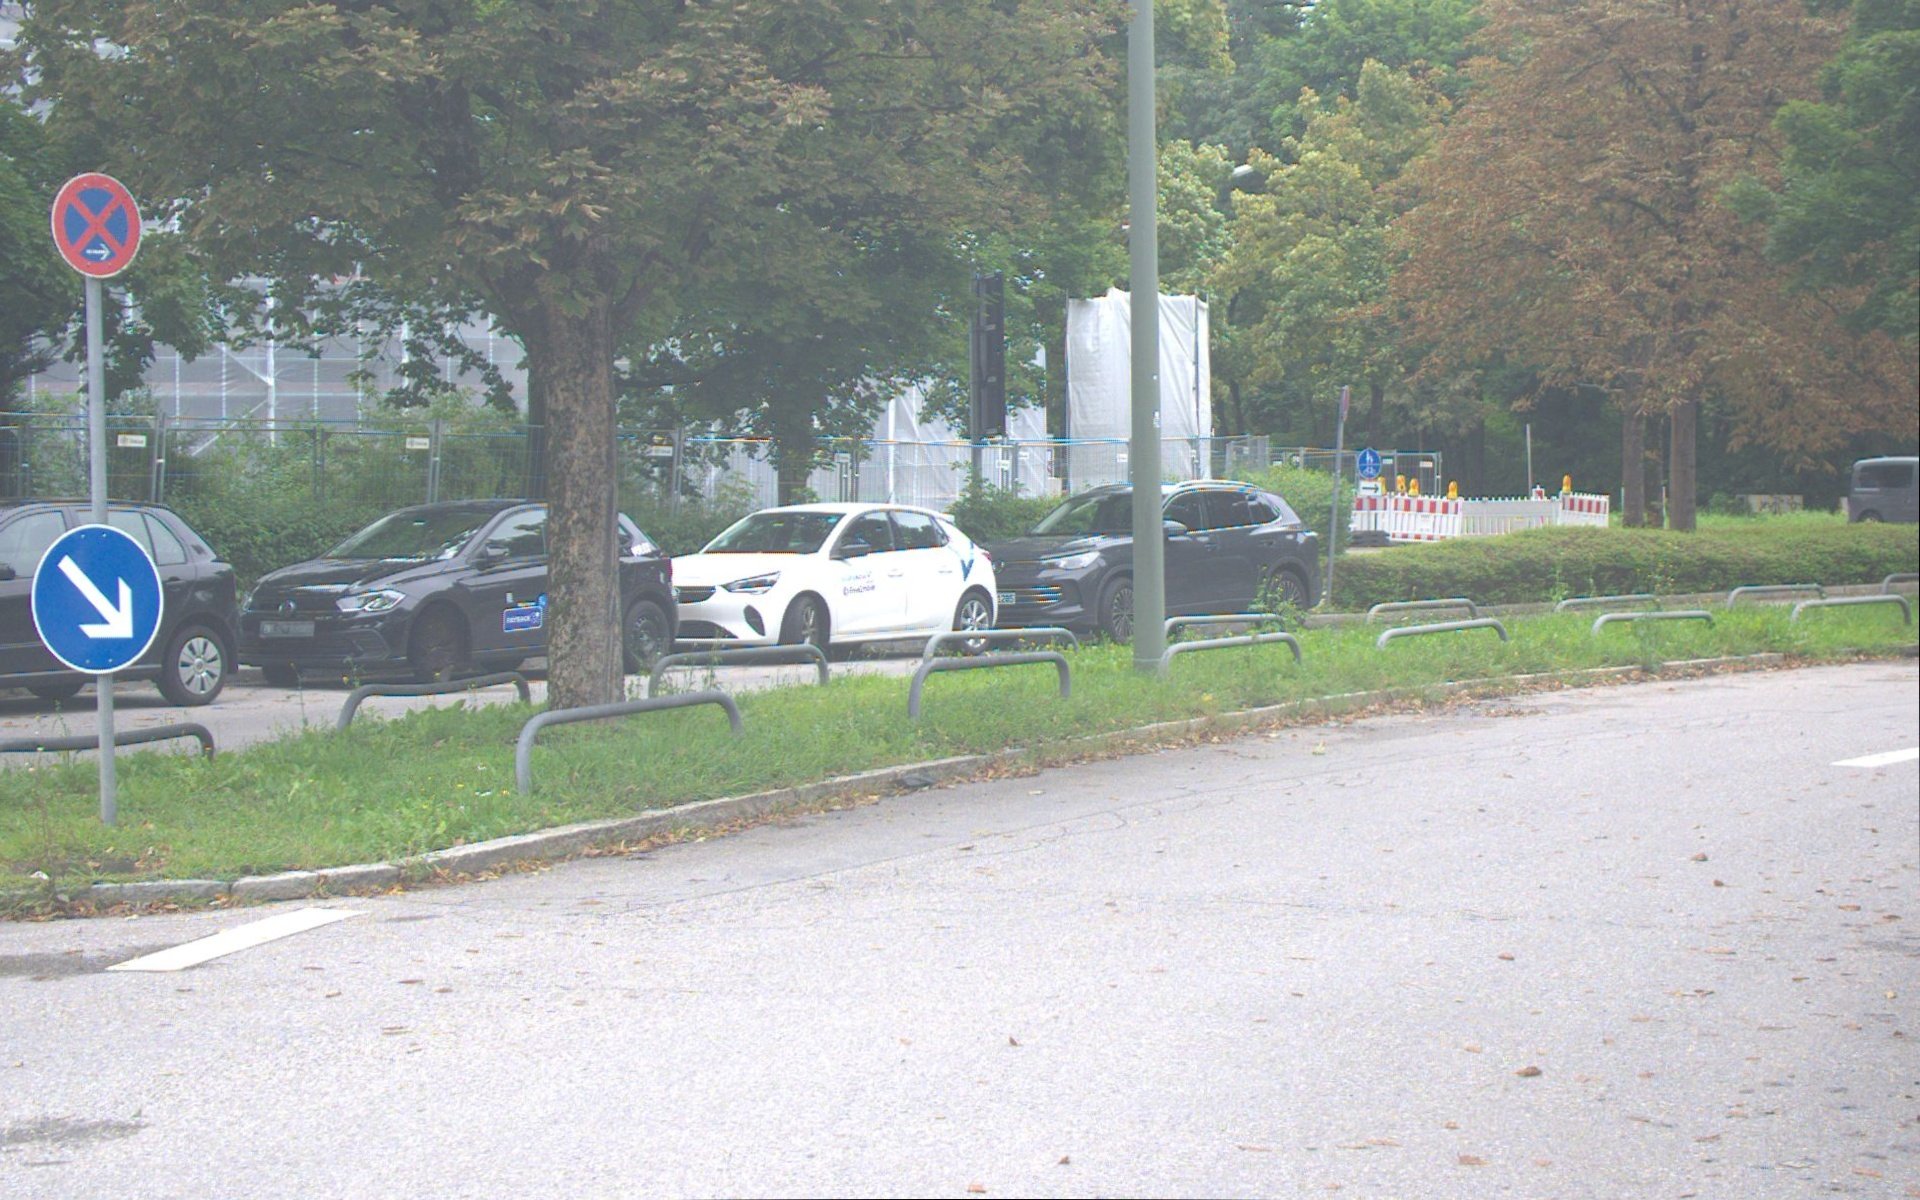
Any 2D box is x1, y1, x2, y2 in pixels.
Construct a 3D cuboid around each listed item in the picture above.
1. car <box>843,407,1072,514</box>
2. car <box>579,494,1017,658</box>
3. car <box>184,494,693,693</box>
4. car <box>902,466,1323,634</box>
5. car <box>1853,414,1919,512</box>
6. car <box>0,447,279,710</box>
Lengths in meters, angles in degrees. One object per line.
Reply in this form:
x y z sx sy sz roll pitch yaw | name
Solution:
-0.160 -4.646 116.019 3.085 3.437 8.718 -2 2 -37 | car
-1.398 -0.258 31.346 1.799 1.379 4.210 0 2 34 | car
-4.064 -0.101 27.383 1.837 1.456 3.999 0 2 32 | car
1.607 -0.484 34.904 1.890 1.600 4.385 0 0 43 | car
20.529 -2.806 70.295 1.994 2.006 3.999 -2 2 -39 | car
-6.748 -0.156 23.249 1.997 1.700 3.993 0 2 32 | car
